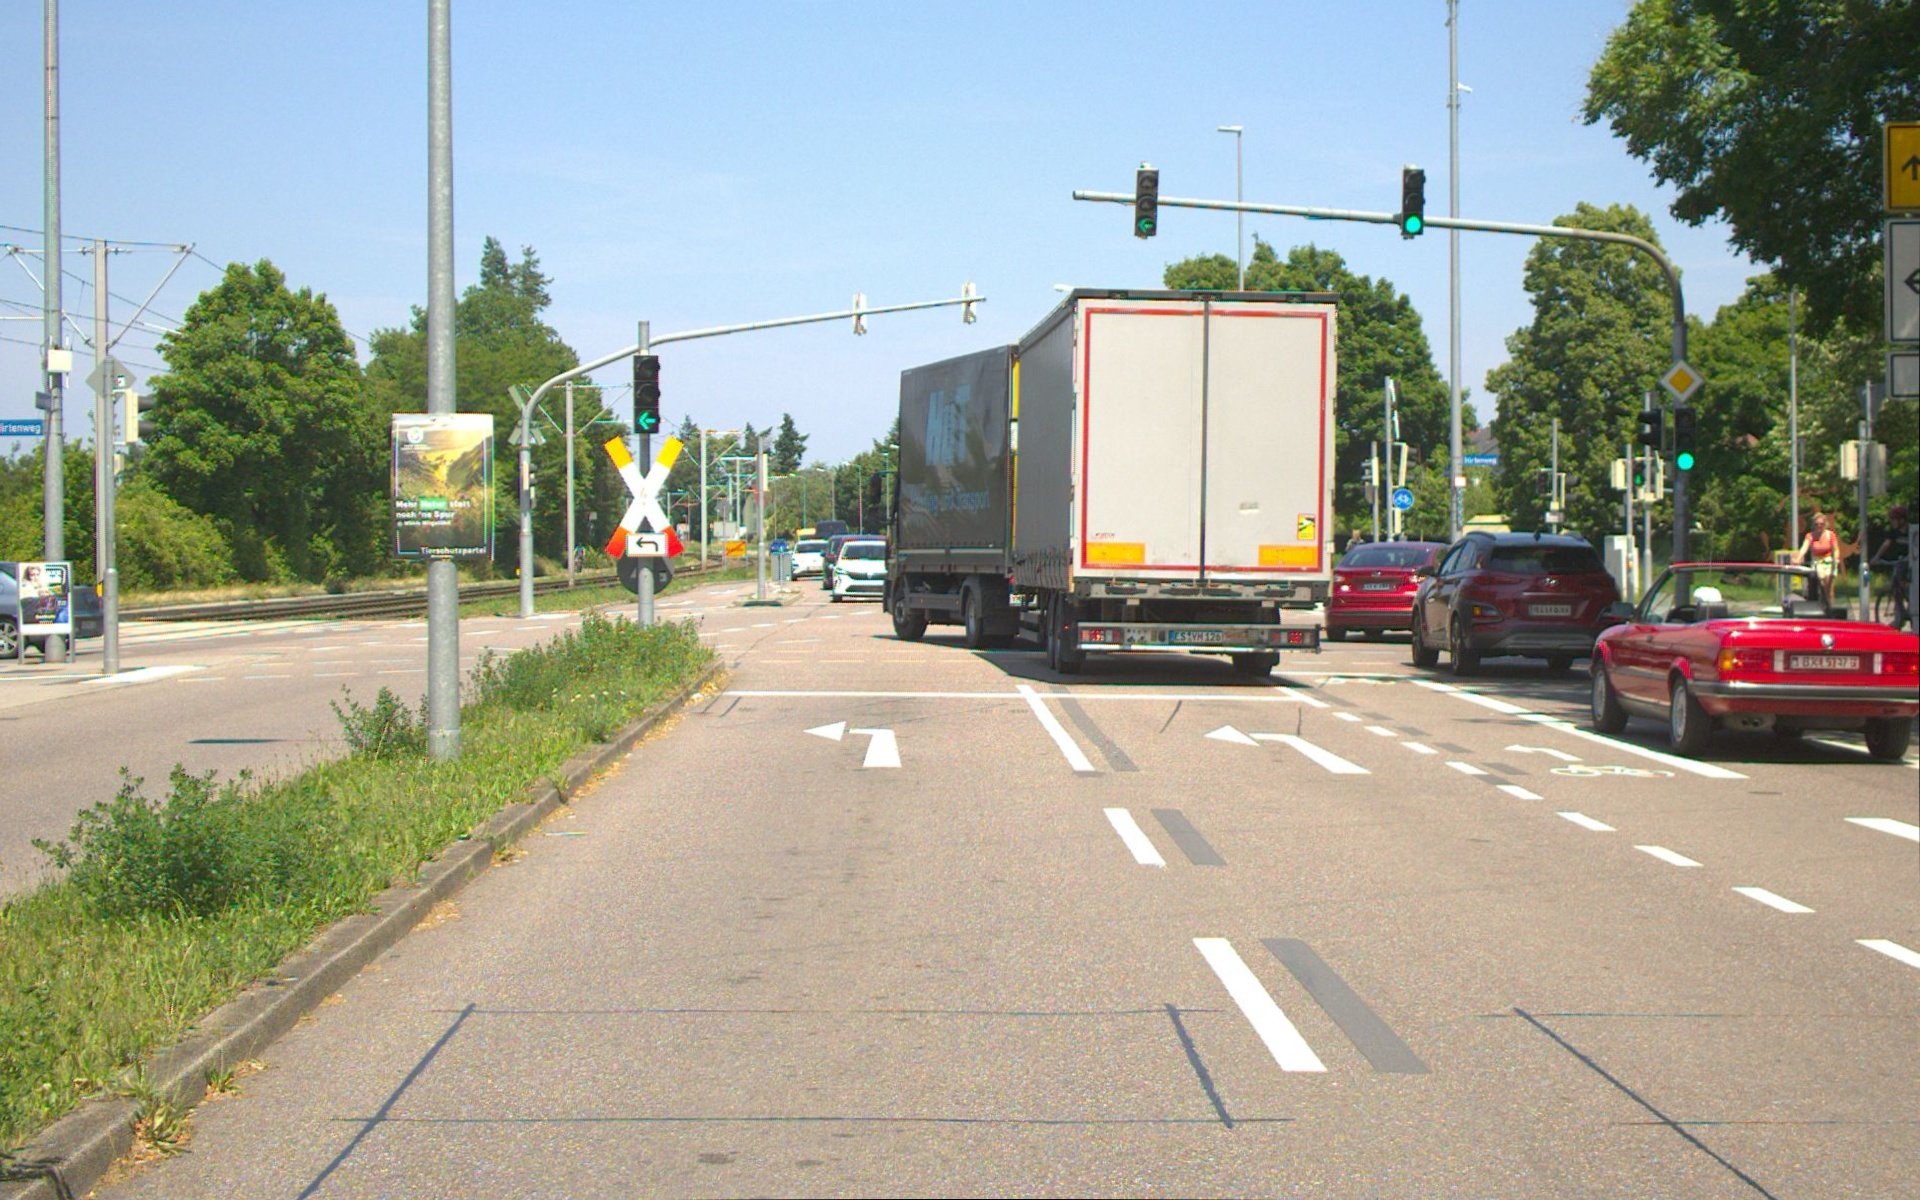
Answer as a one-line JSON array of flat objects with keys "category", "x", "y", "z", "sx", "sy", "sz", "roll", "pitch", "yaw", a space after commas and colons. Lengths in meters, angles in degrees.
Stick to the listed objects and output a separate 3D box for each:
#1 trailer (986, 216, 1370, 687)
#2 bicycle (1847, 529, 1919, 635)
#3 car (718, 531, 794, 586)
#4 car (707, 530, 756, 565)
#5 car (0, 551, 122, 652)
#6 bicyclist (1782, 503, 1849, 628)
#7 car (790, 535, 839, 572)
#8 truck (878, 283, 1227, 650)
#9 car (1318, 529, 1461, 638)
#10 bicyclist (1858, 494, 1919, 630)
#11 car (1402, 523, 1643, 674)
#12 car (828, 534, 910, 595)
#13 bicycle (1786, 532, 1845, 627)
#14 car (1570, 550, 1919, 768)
[{"category": "trailer", "x": 2.102, "y": -1.502, "z": 36.929, "sx": 2.826, "sy": 4.406, "sz": 8.751, "roll": 1, "pitch": 1, "yaw": -4}, {"category": "bicycle", "x": 11.833, "y": -0.243, "z": 43.568, "sx": 0.725, "sy": 1.291, "sz": 1.302, "roll": -2, "pitch": 1, "yaw": 32}, {"category": "car", "x": -5.327, "y": -1.097, "z": 90.185, "sx": 1.858, "sy": 1.368, "sz": 4.157, "roll": 1, "pitch": 1, "yaw": -2}, {"category": "car", "x": -9.286, "y": -2.163, "z": 140.195, "sx": 1.858, "sy": 1.368, "sz": 4.157, "roll": 1, "pitch": 1, "yaw": -2}, {"category": "car", "x": -14.563, "y": -0.015, "z": 49.621, "sx": 4.417, "sy": 1.367, "sz": 1.898, "roll": 1, "pitch": 2, "yaw": 11}, {"category": "bicyclist", "x": 12.077, "y": -0.484, "z": 48.539, "sx": 0.802, "sy": 1.721, "sz": 0.679, "roll": -2, "pitch": 0, "yaw": 10}, {"category": "car", "x": -5.688, "y": -1.840, "z": 134.796, "sx": 1.858, "sy": 1.368, "sz": 4.157, "roll": 1, "pitch": 1, "yaw": -2}, {"category": "truck", "x": 1.030, "y": -1.716, "z": 45.489, "sx": 2.826, "sy": 4.329, "sz": 8.287, "roll": 1, "pitch": 1, "yaw": -10}, {"category": "car", "x": 6.337, "y": -0.281, "z": 51.166, "sx": 1.994, "sy": 1.498, "sz": 4.502, "roll": 0, "pitch": 2, "yaw": 6}, {"category": "bicyclist", "x": 11.912, "y": -0.484, "z": 43.683, "sx": 0.725, "sy": 1.697, "sz": 0.678, "roll": -2, "pitch": 1, "yaw": 33}, {"category": "car", "x": 6.169, "y": -0.059, "z": 38.115, "sx": 1.858, "sy": 1.544, "sz": 3.887, "roll": 1, "pitch": 1, "yaw": -2}, {"category": "car", "x": -2.177, "y": -0.855, "z": 81.005, "sx": 1.858, "sy": 1.368, "sz": 4.157, "roll": 1, "pitch": 1, "yaw": -2}, {"category": "bicycle", "x": 12.056, "y": -0.298, "z": 48.487, "sx": 0.644, "sy": 1.300, "sz": 1.625, "roll": -2, "pitch": 1, "yaw": 10}, {"category": "car", "x": 5.754, "y": 0.369, "z": 25.104, "sx": 1.654, "sy": 1.392, "sz": 4.268, "roll": 1, "pitch": 1, "yaw": -2}]
